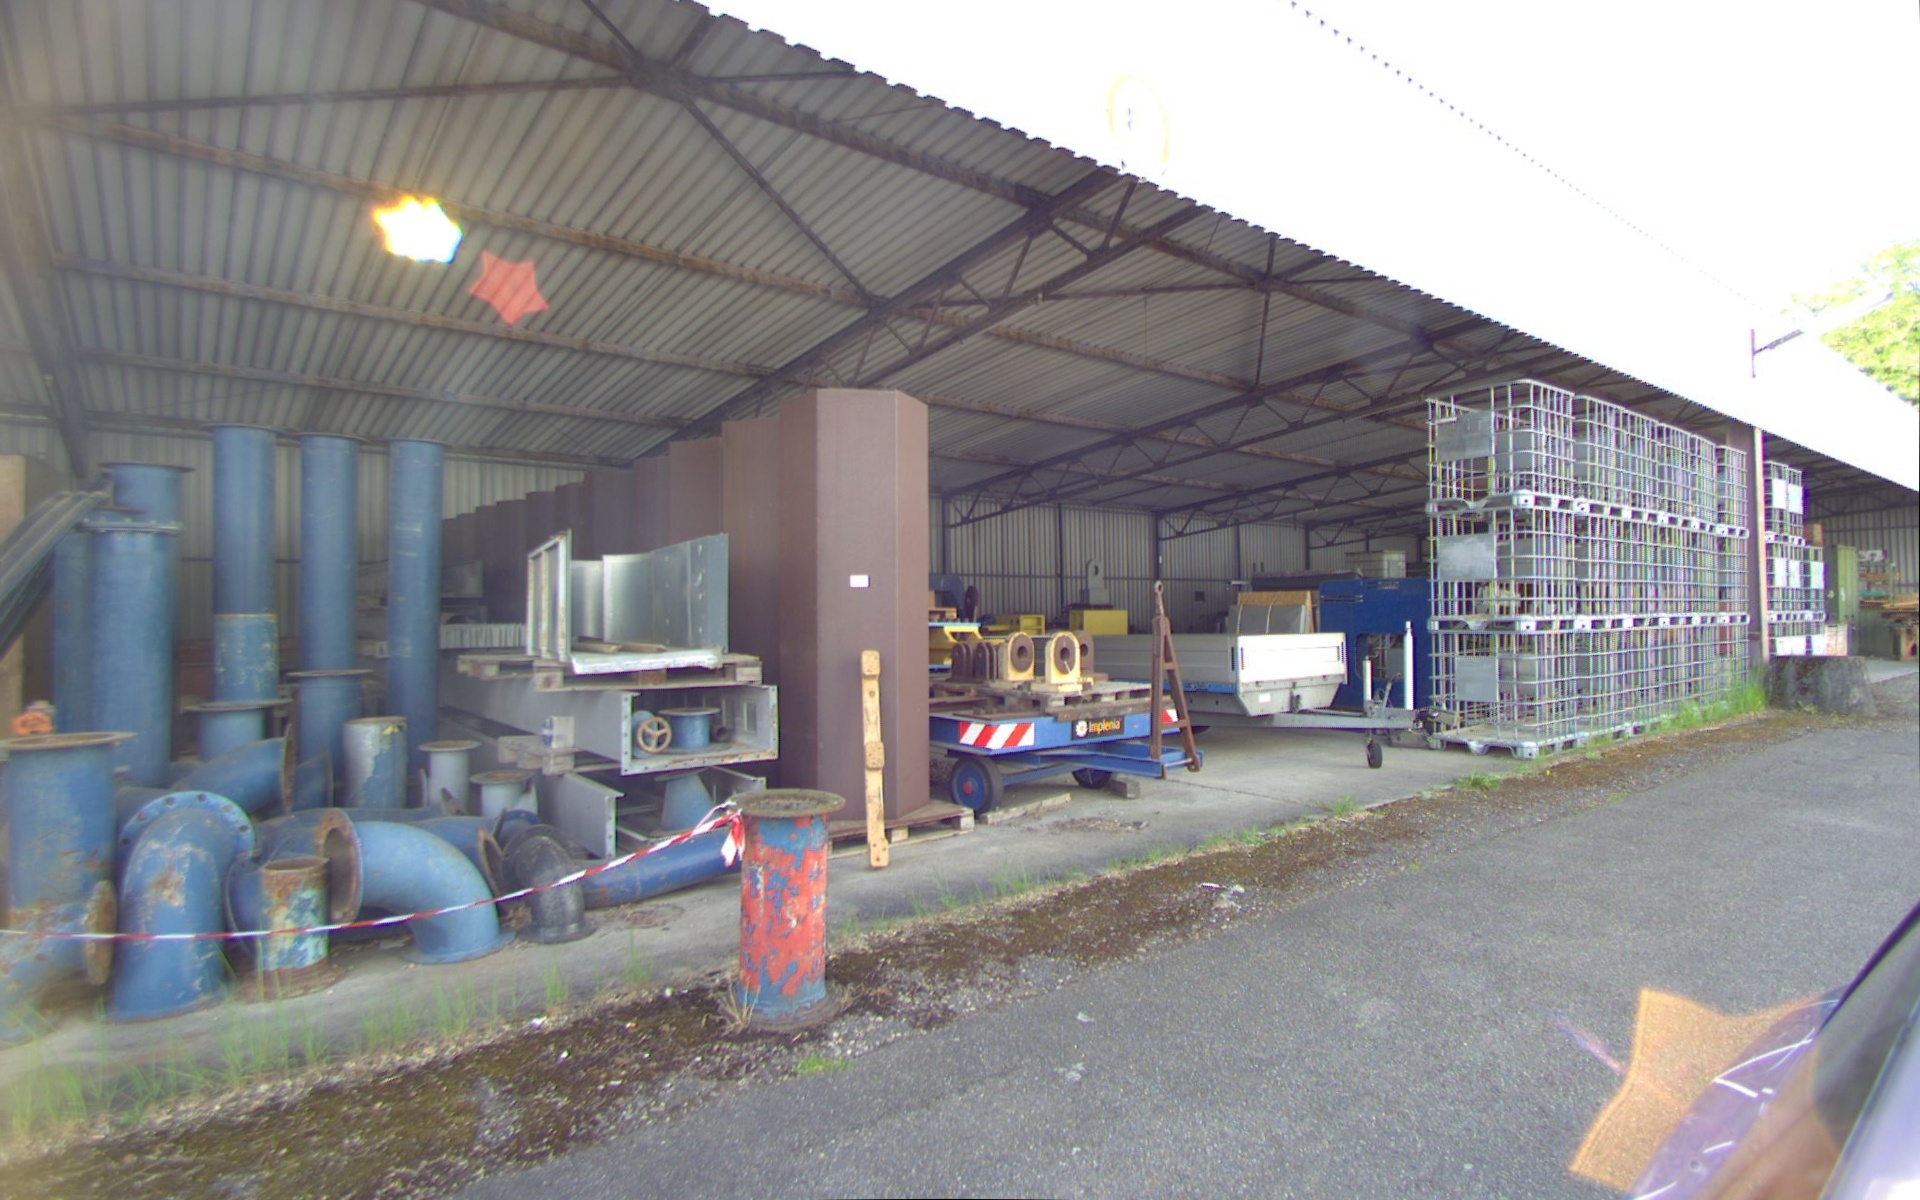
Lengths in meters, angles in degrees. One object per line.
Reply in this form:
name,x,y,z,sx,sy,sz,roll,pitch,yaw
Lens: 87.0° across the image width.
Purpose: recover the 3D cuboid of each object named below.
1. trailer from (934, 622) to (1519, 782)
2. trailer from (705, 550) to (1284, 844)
trailer,2.296,0.826,10.508,1.993,1.134,5.834,0,-1,-39
trailer,-0.082,0.562,8.217,1.993,1.649,4.877,0,-1,-39
